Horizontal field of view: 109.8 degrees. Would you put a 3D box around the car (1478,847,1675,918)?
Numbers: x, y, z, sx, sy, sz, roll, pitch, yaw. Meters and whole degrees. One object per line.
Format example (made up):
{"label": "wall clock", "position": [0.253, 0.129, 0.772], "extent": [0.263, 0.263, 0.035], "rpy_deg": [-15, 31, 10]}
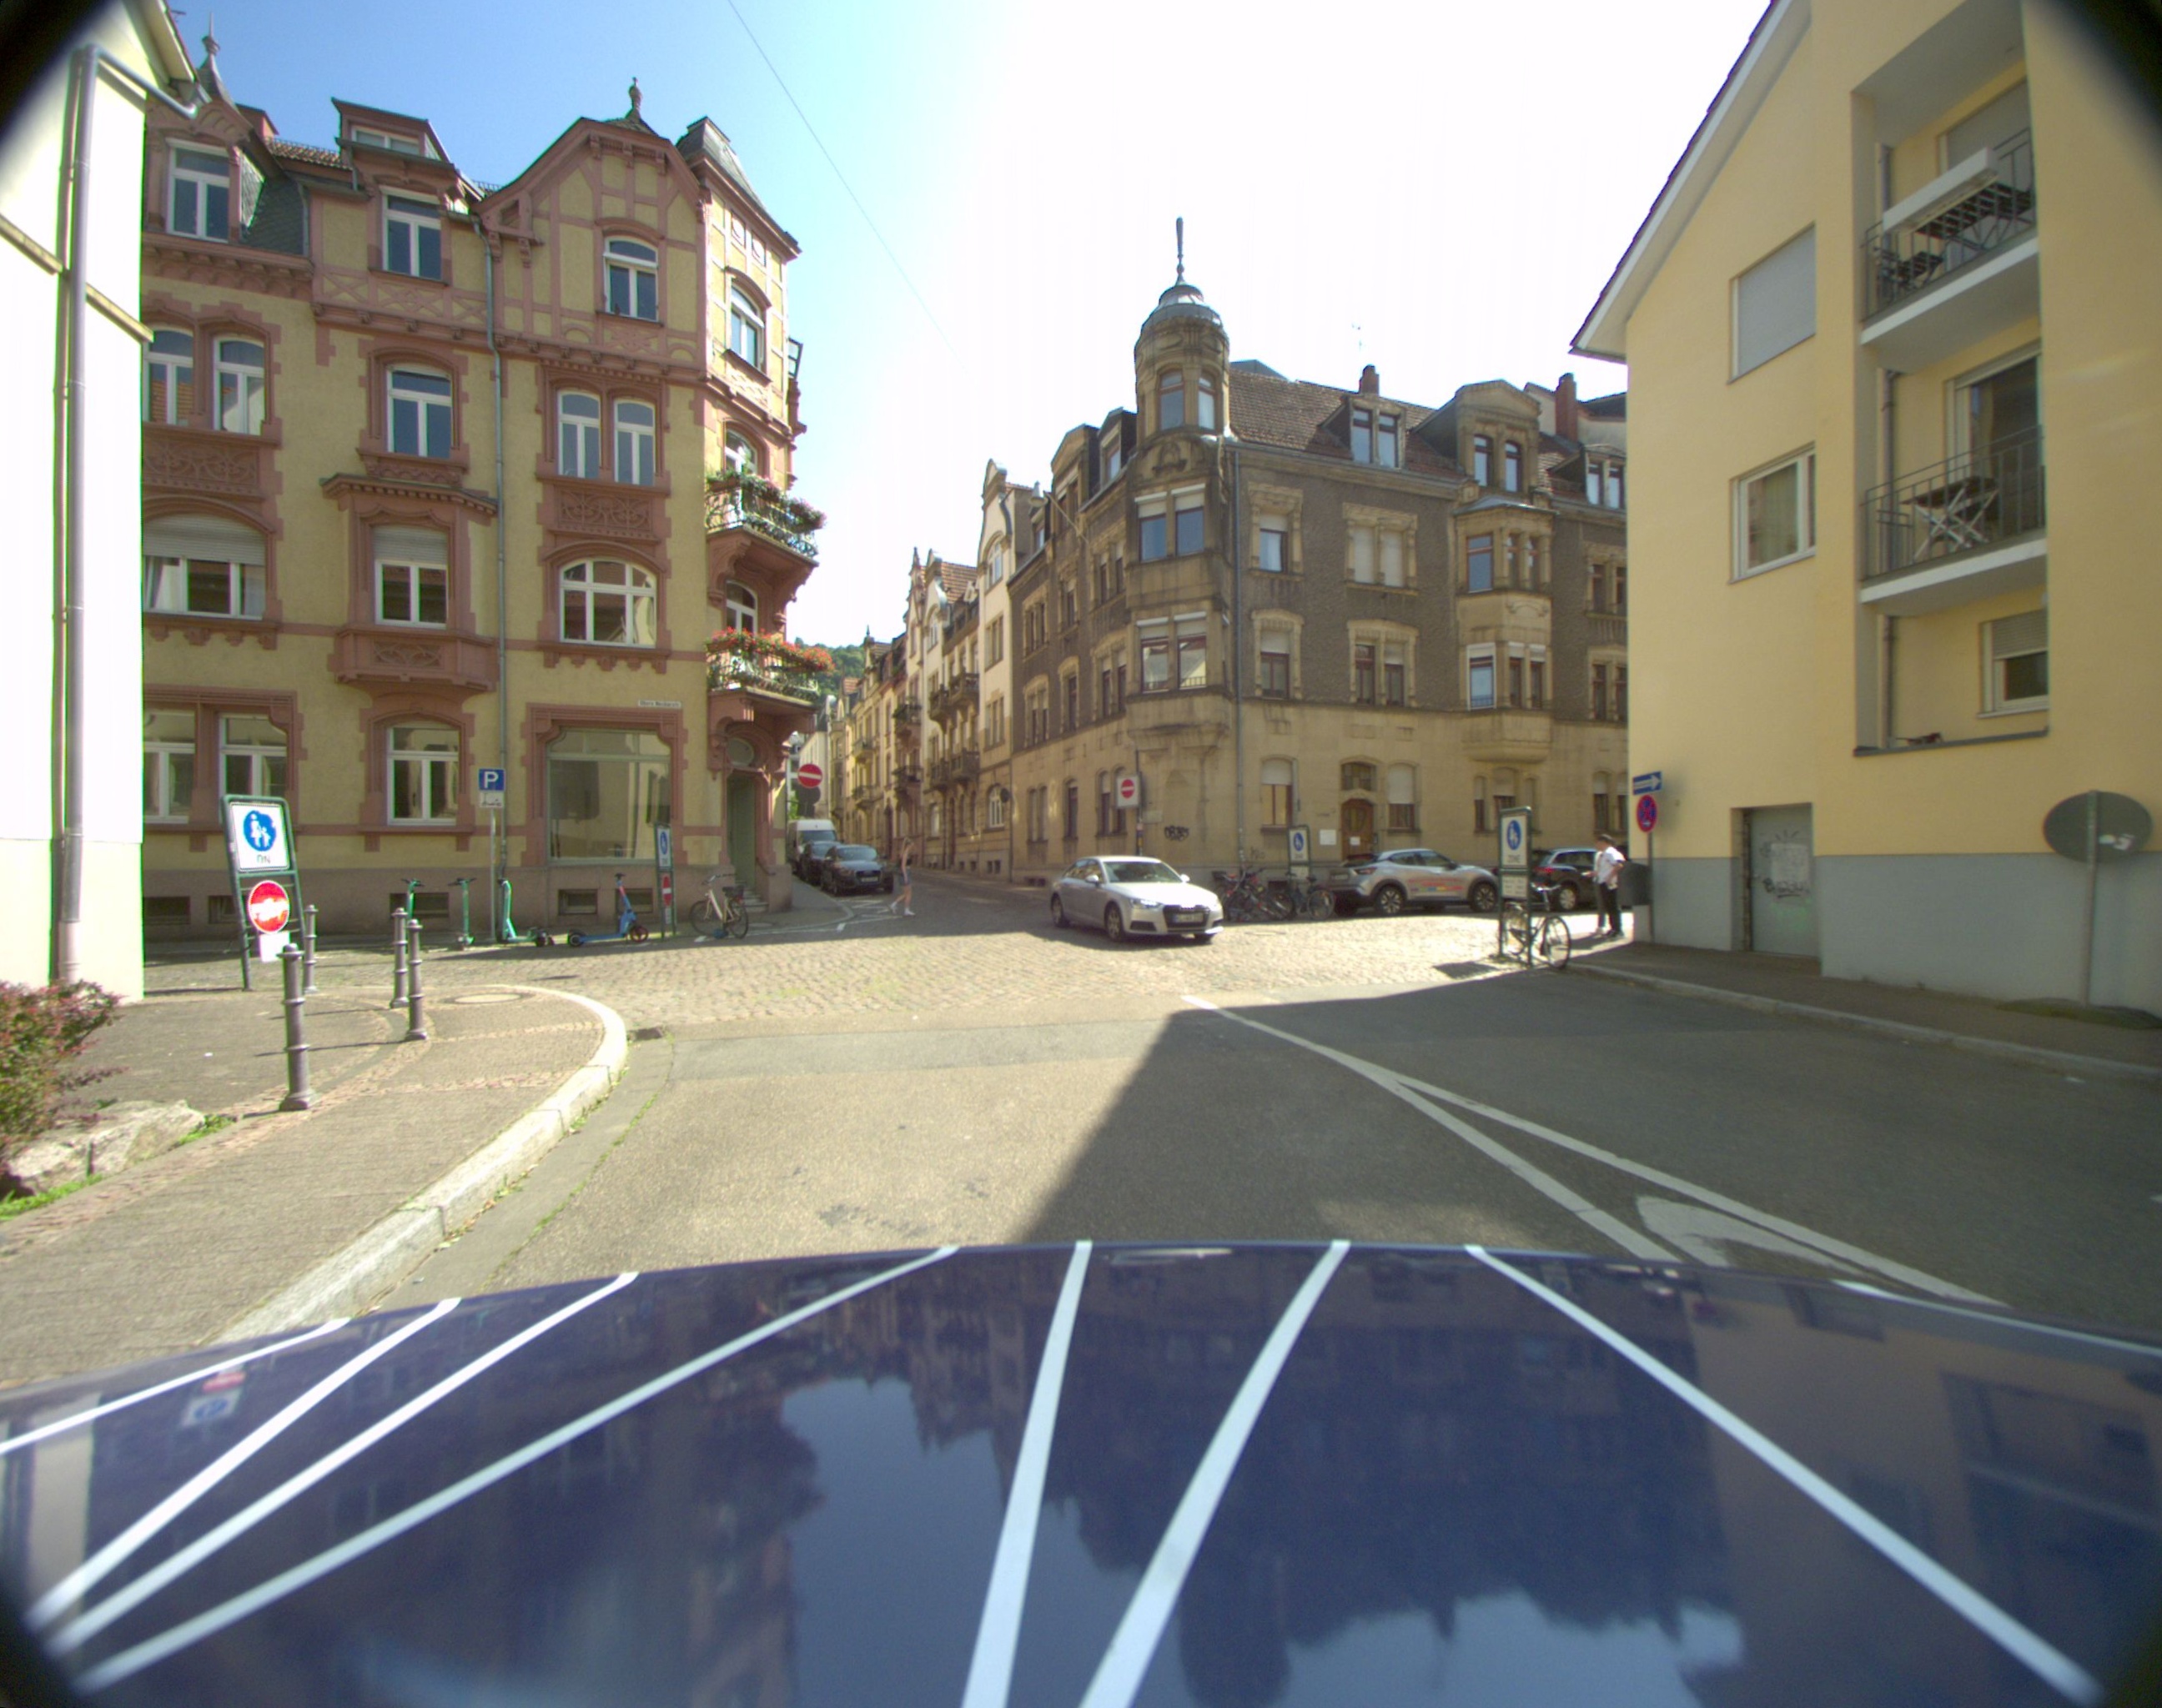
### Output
{"label": "car", "position": [12.135, 0.657, 18.677], "extent": [4.002, 1.535, 1.850], "rpy_deg": [-2, 0, -15]}

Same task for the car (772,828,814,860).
{"label": "car", "position": [-17.775, -0.571, 46.812], "extent": [2.003, 1.905, 3.991], "rpy_deg": [-1, 0, -27]}

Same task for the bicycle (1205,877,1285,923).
{"label": "bicycle", "position": [3.699, 1.034, 17.243], "extent": [0.285, 1.082, 1.638], "rpy_deg": [-48, 20, -19]}

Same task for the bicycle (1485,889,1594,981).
{"label": "bicycle", "position": [6.302, 1.072, 10.553], "extent": [0.391, 1.073, 1.910], "rpy_deg": [0, 0, 1]}

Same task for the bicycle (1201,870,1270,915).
{"label": "bicycle", "position": [3.931, 0.959, 19.316], "extent": [1.643, 1.080, 0.495], "rpy_deg": [0, 5, -17]}

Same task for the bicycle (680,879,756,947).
{"label": "bicycle", "position": [-6.698, 1.056, 13.996], "extent": [1.788, 1.139, 0.506], "rpy_deg": [1, 1, 38]}

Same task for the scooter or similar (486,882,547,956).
{"label": "scooter or similar", "position": [-9.573, 1.082, 12.874], "extent": [1.187, 1.202, 0.343], "rpy_deg": [0, 0, 28]}

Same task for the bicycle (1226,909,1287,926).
{"label": "bicycle", "position": [3.872, 1.400, 16.887], "extent": [1.078, 0.286, 1.123], "rpy_deg": [0, 0, -2]}

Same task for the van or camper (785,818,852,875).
{"label": "van or camper", "position": [-12.776, -0.441, 36.651], "extent": [2.230, 2.506, 6.751], "rpy_deg": [0, 2, -26]}

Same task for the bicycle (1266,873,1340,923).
{"label": "bicycle", "position": [4.936, 0.988, 16.964], "extent": [0.286, 1.079, 1.638], "rpy_deg": [2, -4, -44]}

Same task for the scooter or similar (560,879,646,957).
{"label": "scooter or similar", "position": [-8.012, 1.056, 12.786], "extent": [1.192, 1.228, 0.441], "rpy_deg": [-1, 0, -30]}

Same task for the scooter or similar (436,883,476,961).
{"label": "scooter or similar", "position": [-10.421, 1.108, 12.690], "extent": [0.414, 1.202, 1.232], "rpy_deg": [-1, 0, -35]}

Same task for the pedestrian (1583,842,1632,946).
{"label": "pedestrian", "position": [8.469, 0.620, 12.220], "extent": [0.658, 1.609, 0.491], "rpy_deg": [-2, 1, -41]}

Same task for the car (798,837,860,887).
{"label": "car", "position": [-9.952, 0.242, 29.819], "extent": [1.764, 1.696, 3.990], "rpy_deg": [-3, 3, -25]}

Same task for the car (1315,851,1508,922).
{"label": "car", "position": [7.768, 0.704, 17.959], "extent": [3.931, 1.535, 1.850], "rpy_deg": [0, 0, -17]}

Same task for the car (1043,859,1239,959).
{"label": "car", "position": [0.867, 0.840, 13.767], "extent": [1.879, 1.483, 4.375], "rpy_deg": [-1, 0, -20]}

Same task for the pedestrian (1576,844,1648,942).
{"label": "pedestrian", "position": [9.012, 0.642, 12.911], "extent": [0.757, 1.608, 0.689], "rpy_deg": [-1, 0, -19]}

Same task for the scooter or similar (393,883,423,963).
{"label": "scooter or similar", "position": [-10.954, 1.099, 12.382], "extent": [0.343, 1.202, 1.187], "rpy_deg": [-1, 0, -41]}

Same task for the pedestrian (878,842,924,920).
{"label": "pedestrian", "position": [-4.204, 0.615, 17.729], "extent": [0.981, 1.749, 0.622], "rpy_deg": [-1, 4, -17]}

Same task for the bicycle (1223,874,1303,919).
{"label": "bicycle", "position": [4.148, 0.962, 17.456], "extent": [0.285, 1.082, 1.638], "rpy_deg": [-48, 20, -19]}

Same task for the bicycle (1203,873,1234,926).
{"label": "bicycle", "position": [3.074, 0.988, 17.076], "extent": [0.285, 1.079, 1.642], "rpy_deg": [-4, 0, -2]}

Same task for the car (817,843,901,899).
{"label": "car", "position": [-7.407, 0.467, 25.096], "extent": [1.865, 1.574, 4.250], "rpy_deg": [-2, 3, -27]}
